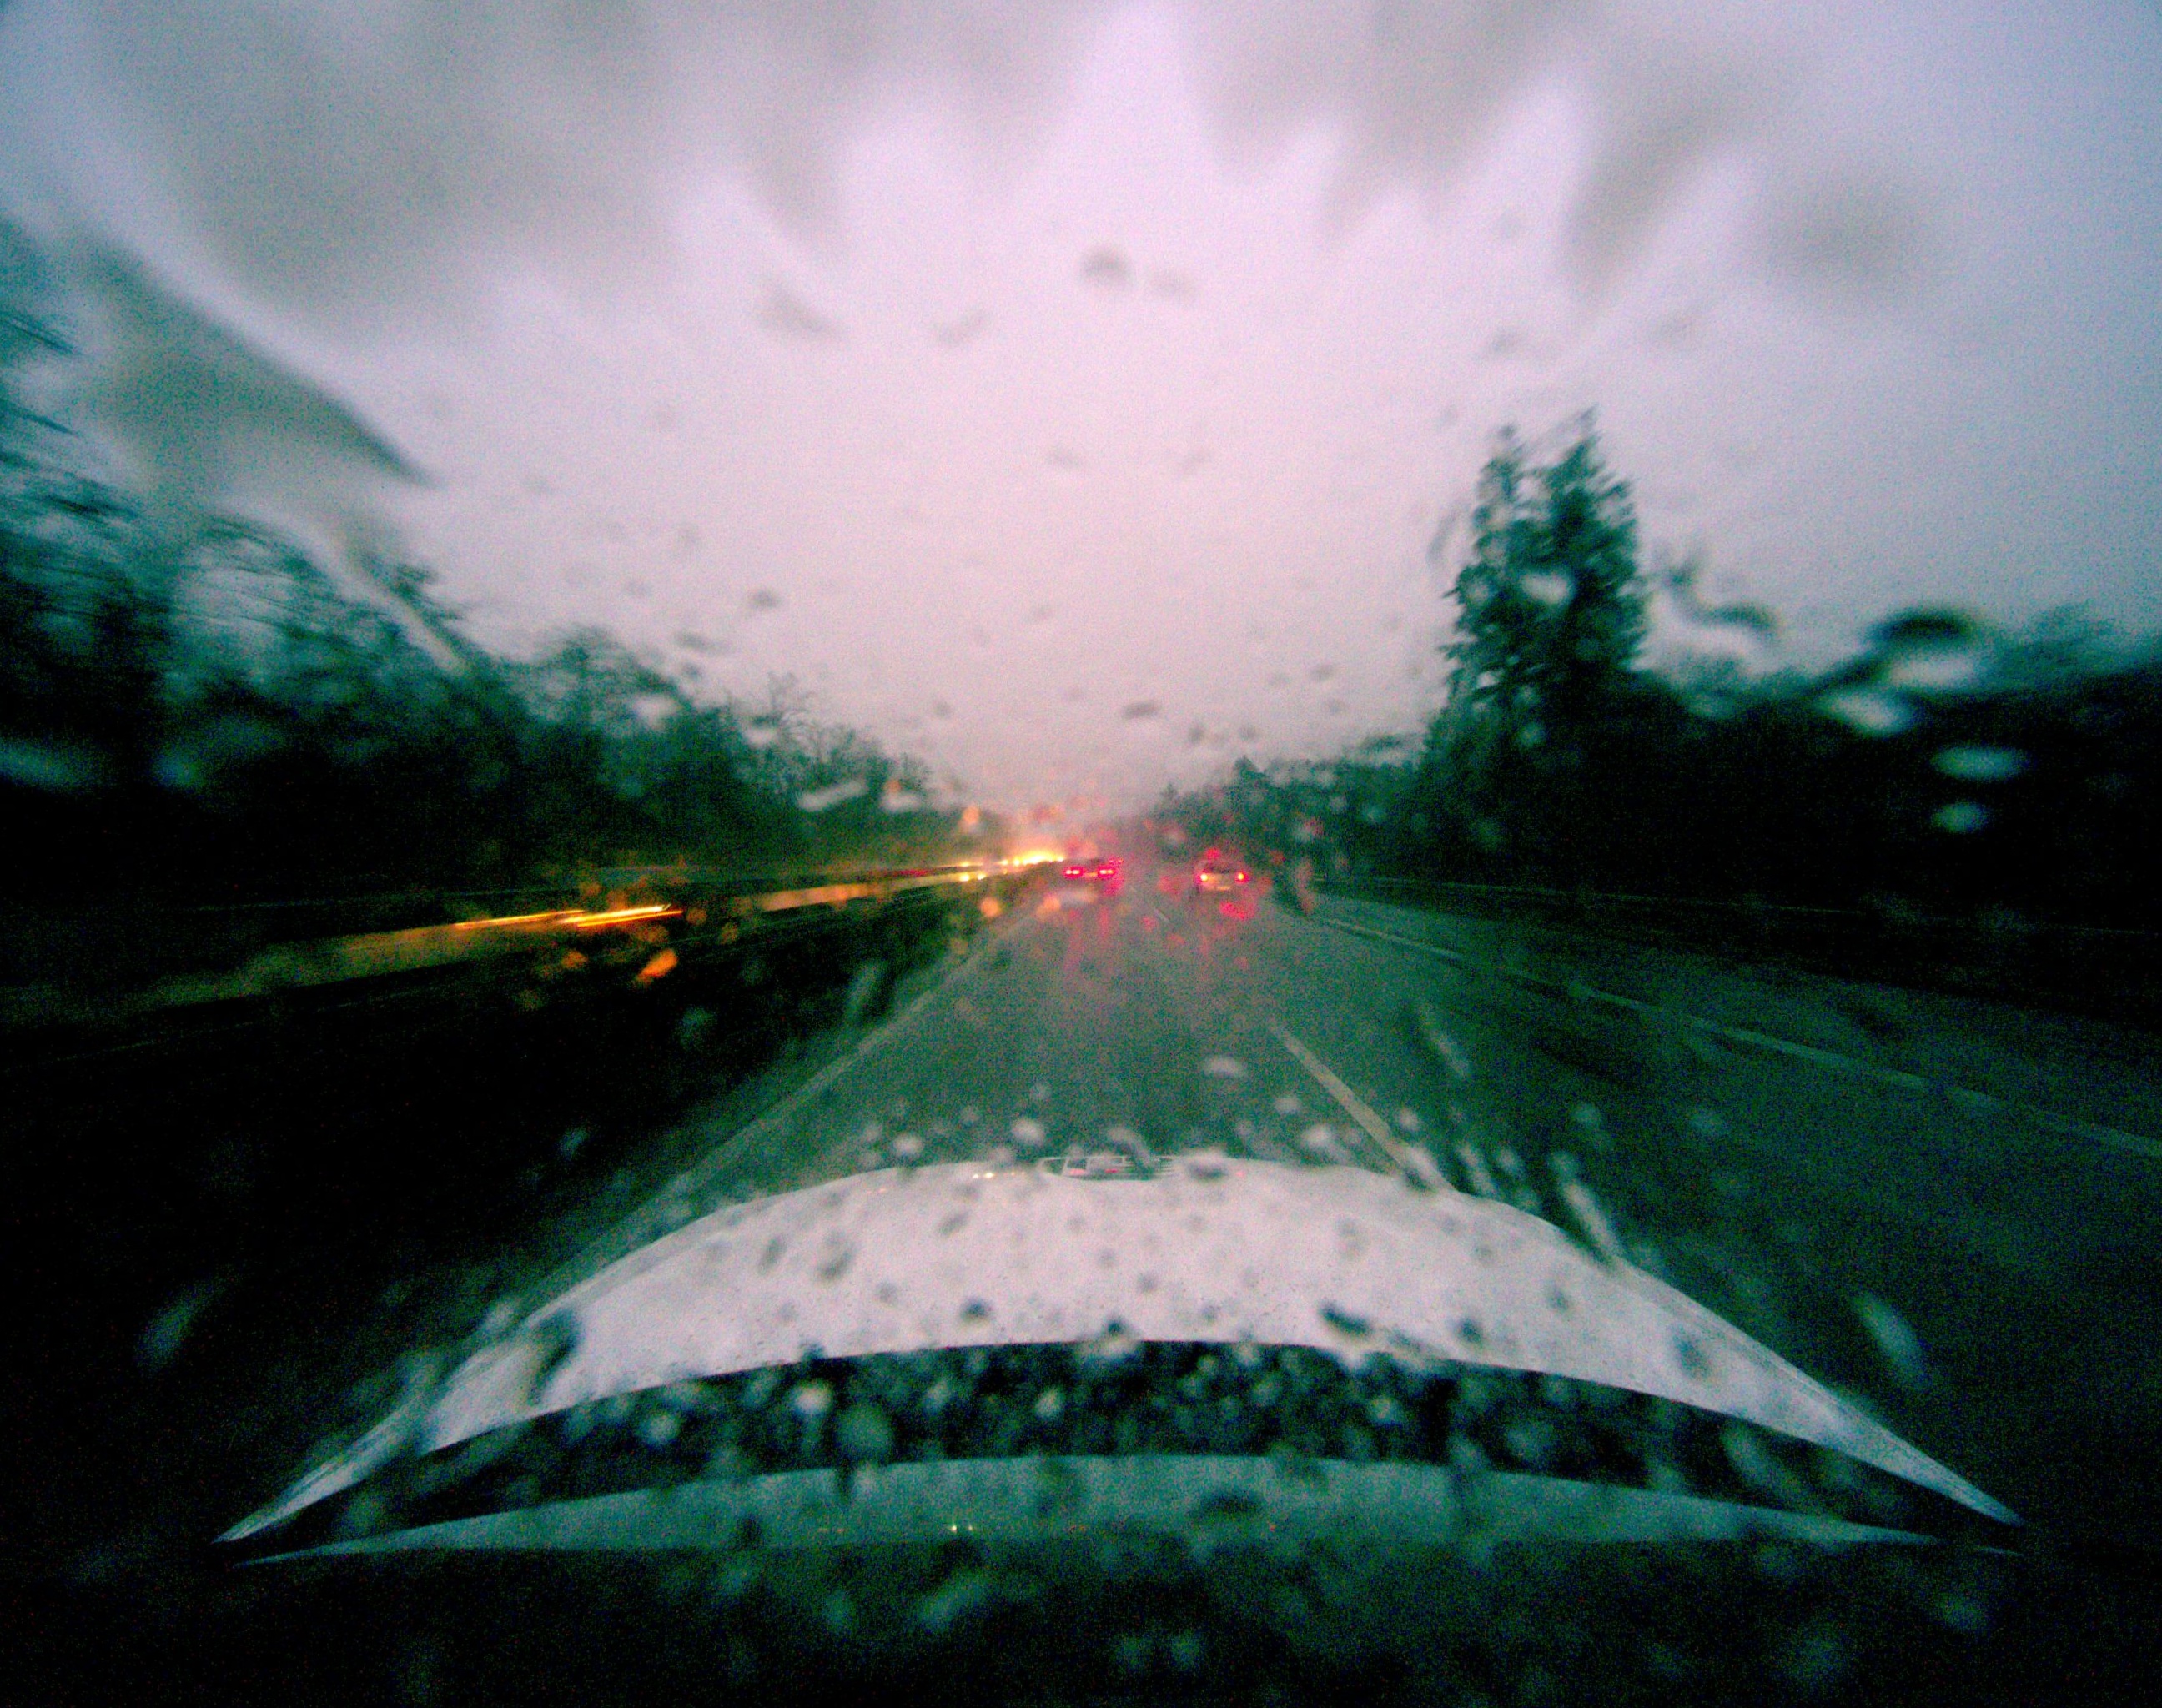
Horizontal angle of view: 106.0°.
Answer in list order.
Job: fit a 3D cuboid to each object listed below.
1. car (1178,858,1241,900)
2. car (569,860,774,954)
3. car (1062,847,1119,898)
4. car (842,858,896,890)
[{"bbox_3d":[4.635,0.856,29.825,1.774,1.437,3.538,0,0,1],"label":"car"},{"bbox_3d":[-7.578,0.893,15.602,1.670,1.494,4.259,-1,0,1],"label":"car"},{"bbox_3d":[0.325,0.647,30.732,1.980,1.767,4.172,-1,0,0],"label":"car"},{"bbox_3d":[-10.427,0.932,40.319,1.637,1.480,3.648,-1,0,0],"label":"car"}]
